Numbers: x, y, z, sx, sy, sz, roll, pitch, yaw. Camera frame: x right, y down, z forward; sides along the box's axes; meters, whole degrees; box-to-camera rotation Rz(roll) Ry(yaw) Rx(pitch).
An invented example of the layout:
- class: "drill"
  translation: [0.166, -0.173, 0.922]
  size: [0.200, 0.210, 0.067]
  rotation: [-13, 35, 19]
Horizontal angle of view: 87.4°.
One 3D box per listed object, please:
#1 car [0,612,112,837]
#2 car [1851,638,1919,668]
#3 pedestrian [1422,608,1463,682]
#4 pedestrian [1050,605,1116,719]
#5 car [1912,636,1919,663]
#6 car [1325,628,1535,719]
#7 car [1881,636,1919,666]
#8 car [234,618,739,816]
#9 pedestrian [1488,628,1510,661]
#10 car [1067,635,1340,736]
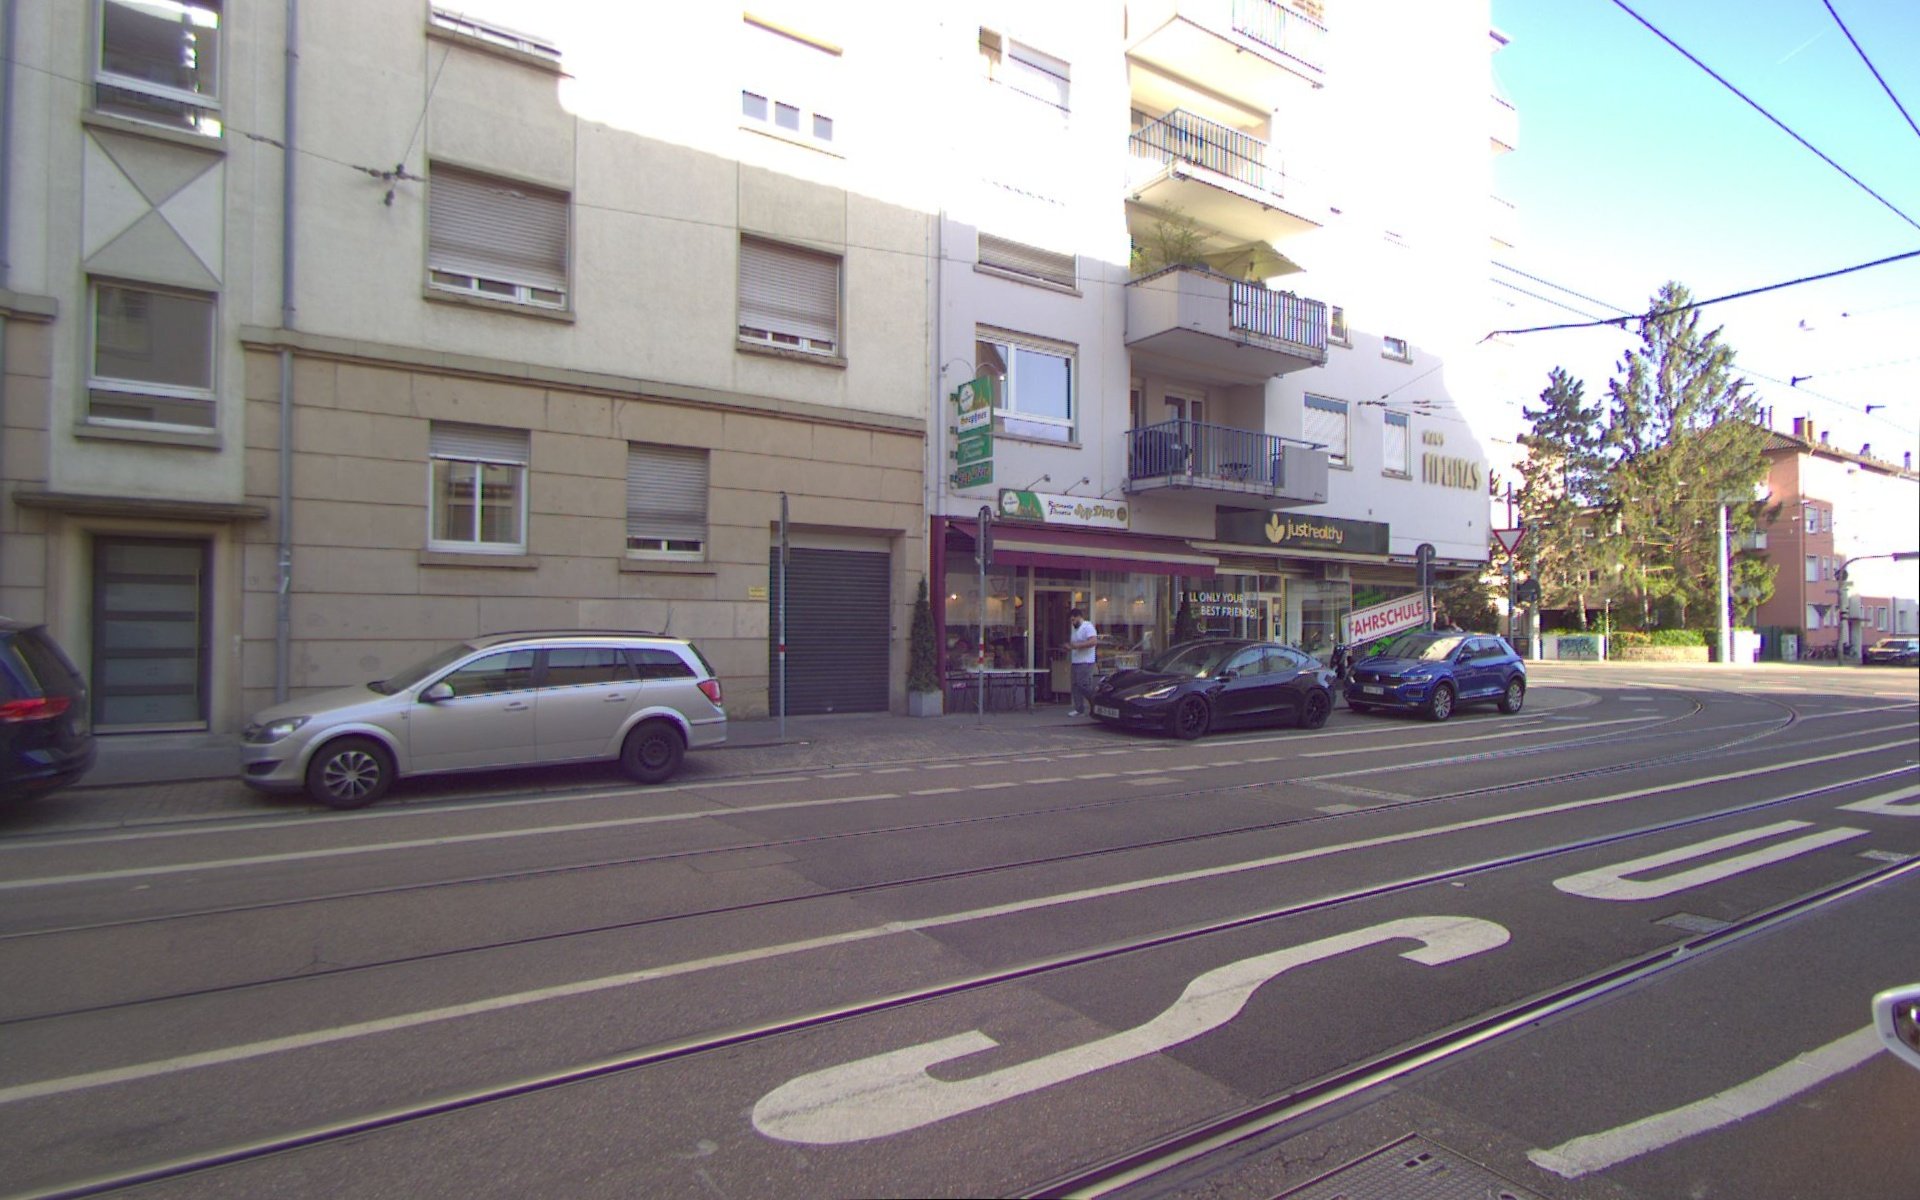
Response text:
- class: "car"
  translation: [-9.007, 0.883, 7.195]
  size: [4.249, 1.606, 1.893]
  rotation: [2, 0, -35]
- class: "car"
  translation: [49.551, 2.830, 53.667]
  size: [3.949, 1.440, 1.784]
  rotation: [2, 0, -31]
- class: "pedestrian"
  translation: [13.754, 1.276, 28.626]
  size: [0.688, 2.040, 0.764]
  rotation: [2, 0, -35]
- class: "pedestrian"
  translation: [2.061, 1.020, 16.791]
  size: [0.802, 1.827, 0.689]
  rotation: [2, 0, -30]
- class: "car"
  translation: [58.253, 2.962, 59.417]
  size: [4.103, 1.531, 1.778]
  rotation: [2, 0, -31]
- class: "car"
  translation: [8.966, 1.320, 19.080]
  size: [4.030, 1.552, 1.858]
  rotation: [1, -2, -34]
- class: "car"
  translation: [53.572, 2.849, 56.225]
  size: [4.250, 1.518, 1.806]
  rotation: [2, 0, -30]
- class: "car"
  translation: [-4.704, 1.038, 10.311]
  size: [4.319, 1.580, 1.981]
  rotation: [2, 0, -34]
- class: "pedestrian"
  translation: [30.232, 2.481, 56.366]
  size: [0.890, 1.815, 0.803]
  rotation: [2, 0, 43]
- class: "car"
  translation: [3.970, 1.277, 16.136]
  size: [4.382, 1.405, 1.810]
  rotation: [1, -2, -34]
